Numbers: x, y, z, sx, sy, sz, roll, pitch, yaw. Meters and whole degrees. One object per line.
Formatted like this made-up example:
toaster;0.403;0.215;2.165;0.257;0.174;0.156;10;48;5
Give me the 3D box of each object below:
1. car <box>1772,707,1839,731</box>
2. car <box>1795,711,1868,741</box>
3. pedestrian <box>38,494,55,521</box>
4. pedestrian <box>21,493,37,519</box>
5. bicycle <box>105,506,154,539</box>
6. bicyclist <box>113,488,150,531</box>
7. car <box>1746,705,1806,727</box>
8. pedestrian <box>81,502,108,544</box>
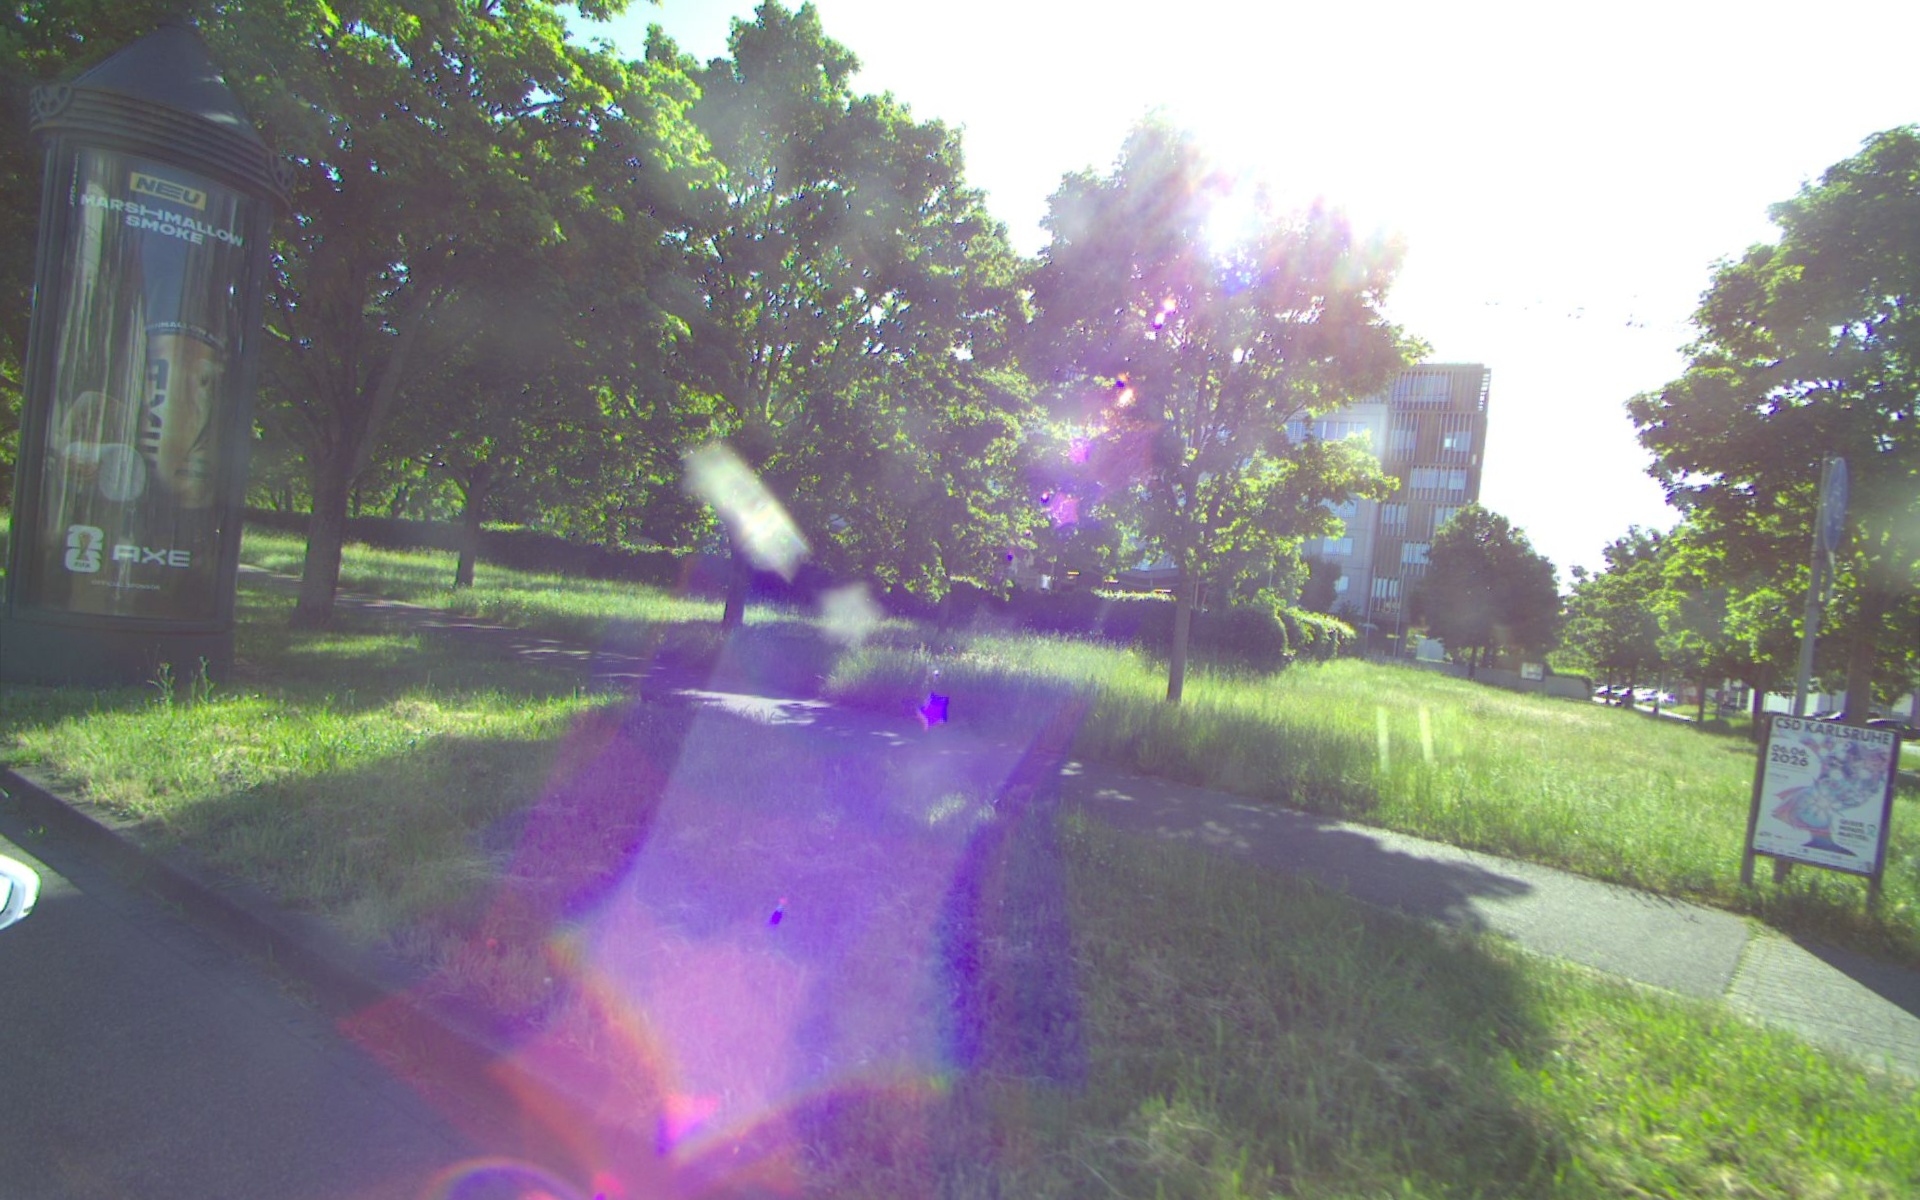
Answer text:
car;77.006;10.853;91.709;4.210;1.437;1.918;7;0;25
car;74.217;10.698;85.746;4.211;1.777;1.918;7;0;26
pedestrian;-61.055;-6.170;67.229;0.632;1.713;0.836;5;1;-34
pedestrian;-61.834;-6.244;66.803;0.543;1.642;0.836;5;1;-34
bicycle;-31.498;-2.929;38.181;0.786;1.060;2.130;6;0;-24
bicyclist;-31.458;-3.434;38.217;0.781;1.468;0.840;6;1;-24
car;81.033;11.532;99.972;4.210;1.437;1.918;7;0;25
pedestrian;-40.009;-3.580;46.487;0.783;1.825;0.714;7;0;43
